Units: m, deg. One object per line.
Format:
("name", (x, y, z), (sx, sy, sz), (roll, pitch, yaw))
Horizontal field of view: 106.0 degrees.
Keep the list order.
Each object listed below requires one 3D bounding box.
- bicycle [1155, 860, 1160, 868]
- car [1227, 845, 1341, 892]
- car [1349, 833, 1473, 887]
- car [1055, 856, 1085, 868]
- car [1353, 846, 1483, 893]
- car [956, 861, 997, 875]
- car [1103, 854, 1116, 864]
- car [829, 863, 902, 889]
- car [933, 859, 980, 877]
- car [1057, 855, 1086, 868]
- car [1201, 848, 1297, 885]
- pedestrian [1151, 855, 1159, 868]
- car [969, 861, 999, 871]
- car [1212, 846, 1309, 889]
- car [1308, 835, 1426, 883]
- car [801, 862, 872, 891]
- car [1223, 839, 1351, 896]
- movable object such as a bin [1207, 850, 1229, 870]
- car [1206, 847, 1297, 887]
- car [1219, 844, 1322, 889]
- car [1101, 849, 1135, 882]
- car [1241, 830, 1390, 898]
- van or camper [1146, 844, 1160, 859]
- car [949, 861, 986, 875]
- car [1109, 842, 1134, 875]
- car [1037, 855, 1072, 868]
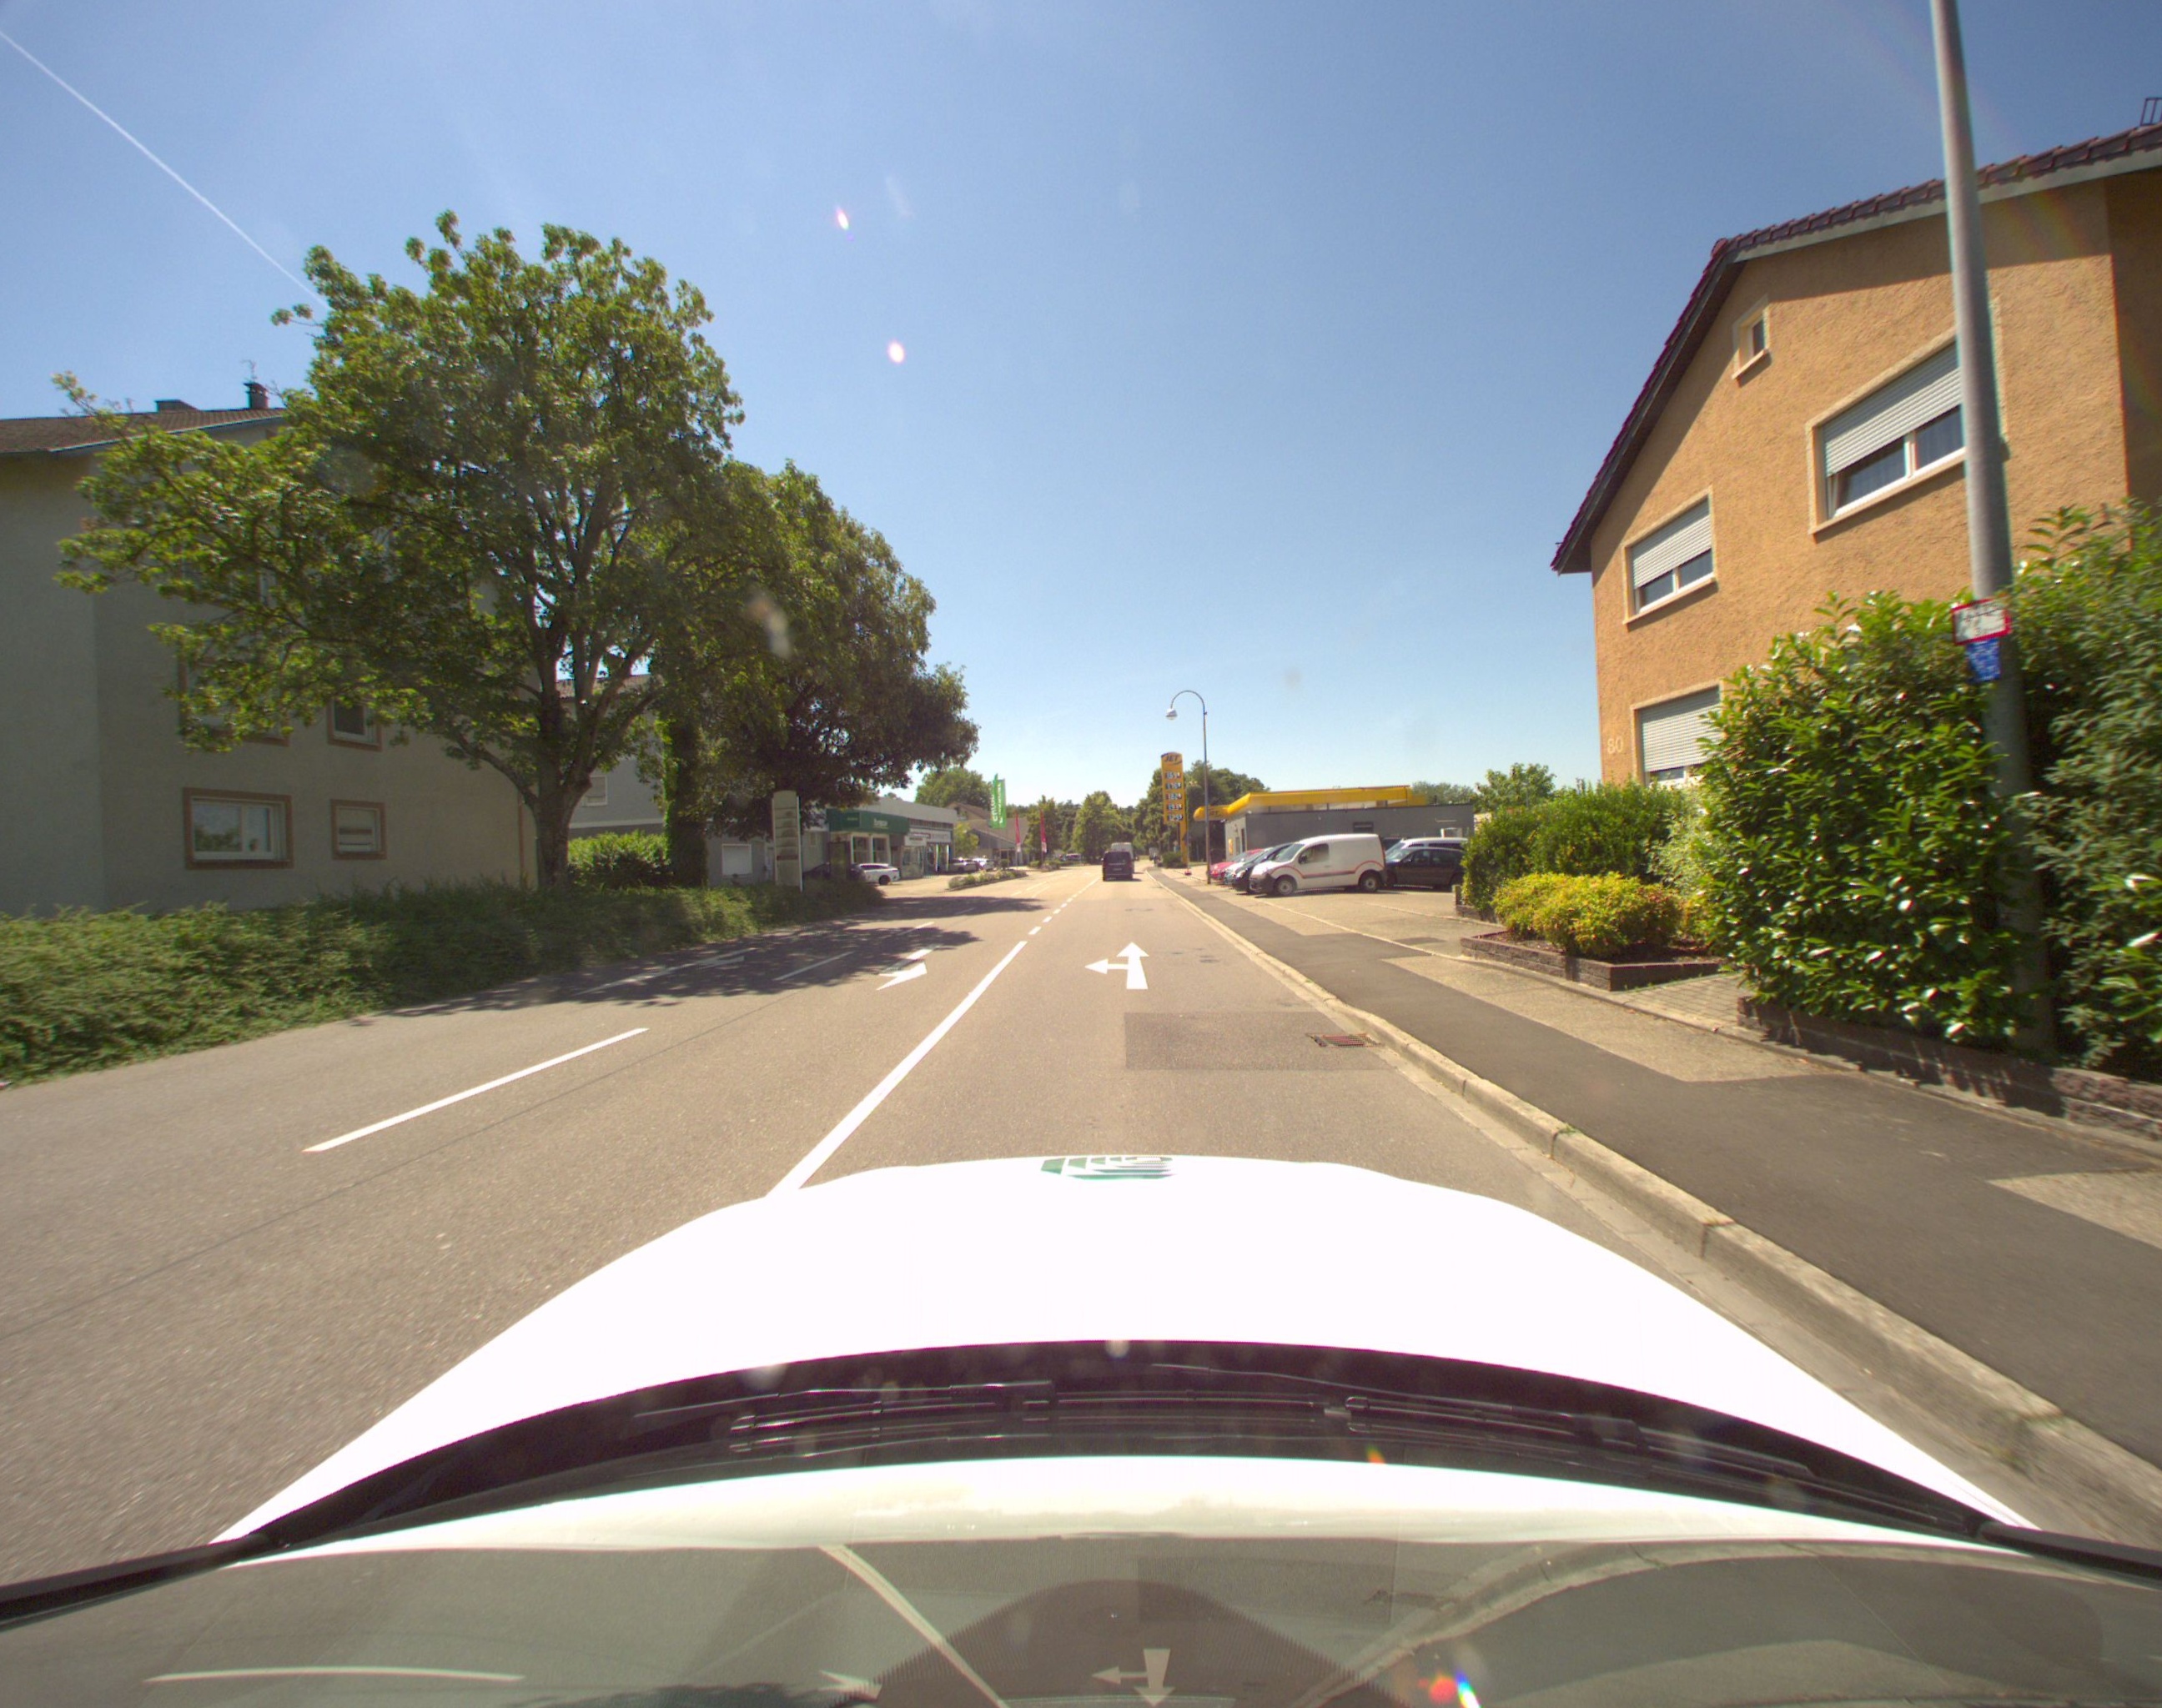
("bicycle", (8.601, 1.124, 90.971), (0.375, 0.912, 1.603), (-2, 0, 11))
("car", (7.441, 0.526, 30.150), (3.776, 1.509, 1.835), (-3, 0, 3))
("car", (11.980, 0.213, 29.743), (3.876, 1.838, 1.690), (1, 0, 4))
("car", (-1.700, 1.298, 127.320), (4.355, 1.845, 2.111), (-1, -1, 13))
("car", (11.406, 0.505, 27.718), (3.596, 1.468, 1.947), (1, 0, -3))
("car", (-12.073, 1.587, 94.180), (4.149, 1.446, 1.989), (-2, 0, 19))
("car", (4.445, 0.793, 126.625), (1.754, 1.527, 4.142), (-3, 0, 4))
("car", (-13.819, 1.387, 52.218), (4.355, 1.439, 1.927), (-2, -1, -20))
("car", (-13.204, 1.483, 86.296), (4.491, 1.664, 2.011), (-2, 0, 22))
("car", (-1.471, 1.266, 130.033), (4.336, 1.980, 1.907), (-1, -1, 4))
("car", (8.030, 0.570, 39.270), (4.208, 1.534, 1.959), (-3, 0, 2))
("pedestrian", (8.327, 0.788, 91.043), (0.764, 1.421, 0.870), (-2, -1, 11))
("car", (-15.095, 1.866, 126.927), (4.294, 1.530, 1.829), (-1, -1, 3))
("car", (7.553, 0.542, 34.505), (3.674, 1.566, 1.749), (-3, 0, -1))
("car", (12.117, 0.204, 34.699), (4.326, 1.896, 1.972), (1, 0, 0))
("car", (-14.514, 1.318, 48.418), (3.546, 1.565, 1.971), (-2, -1, 2))
("car", (6.993, 0.450, 27.901), (3.863, 1.680, 1.763), (-3, 0, -1))
("movable object such as a bin", (10.496, 0.468, 62.523), (1.428, 1.438, 1.469), (-4, 0, 3))
("car", (7.667, 0.558, 36.811), (3.673, 1.566, 1.708), (-3, 0, -1))
("car", (7.452, 0.482, 32.238), (3.672, 1.566, 1.642), (-3, 0, 0))
("car", (2.310, 0.693, 51.089), (1.986, 1.952, 5.007), (0, 0, 2))
("car", (7.360, 0.303, 25.793), (4.125, 1.938, 1.806), (-2, 0, -3))
("van or camper", (14.565, -0.397, 165.067), (2.620, 2.929, 5.211), (-1, -1, 4))
("car", (-12.719, 1.583, 91.385), (3.594, 1.474, 2.011), (-2, 0, 22))
("car", (3.490, 0.375, 69.115), (2.069, 2.702, 4.671), (0, 0, 4))
("car", (-3.868, 1.160, 119.923), (4.677, 1.762, 2.105), (-1, -1, 11))
